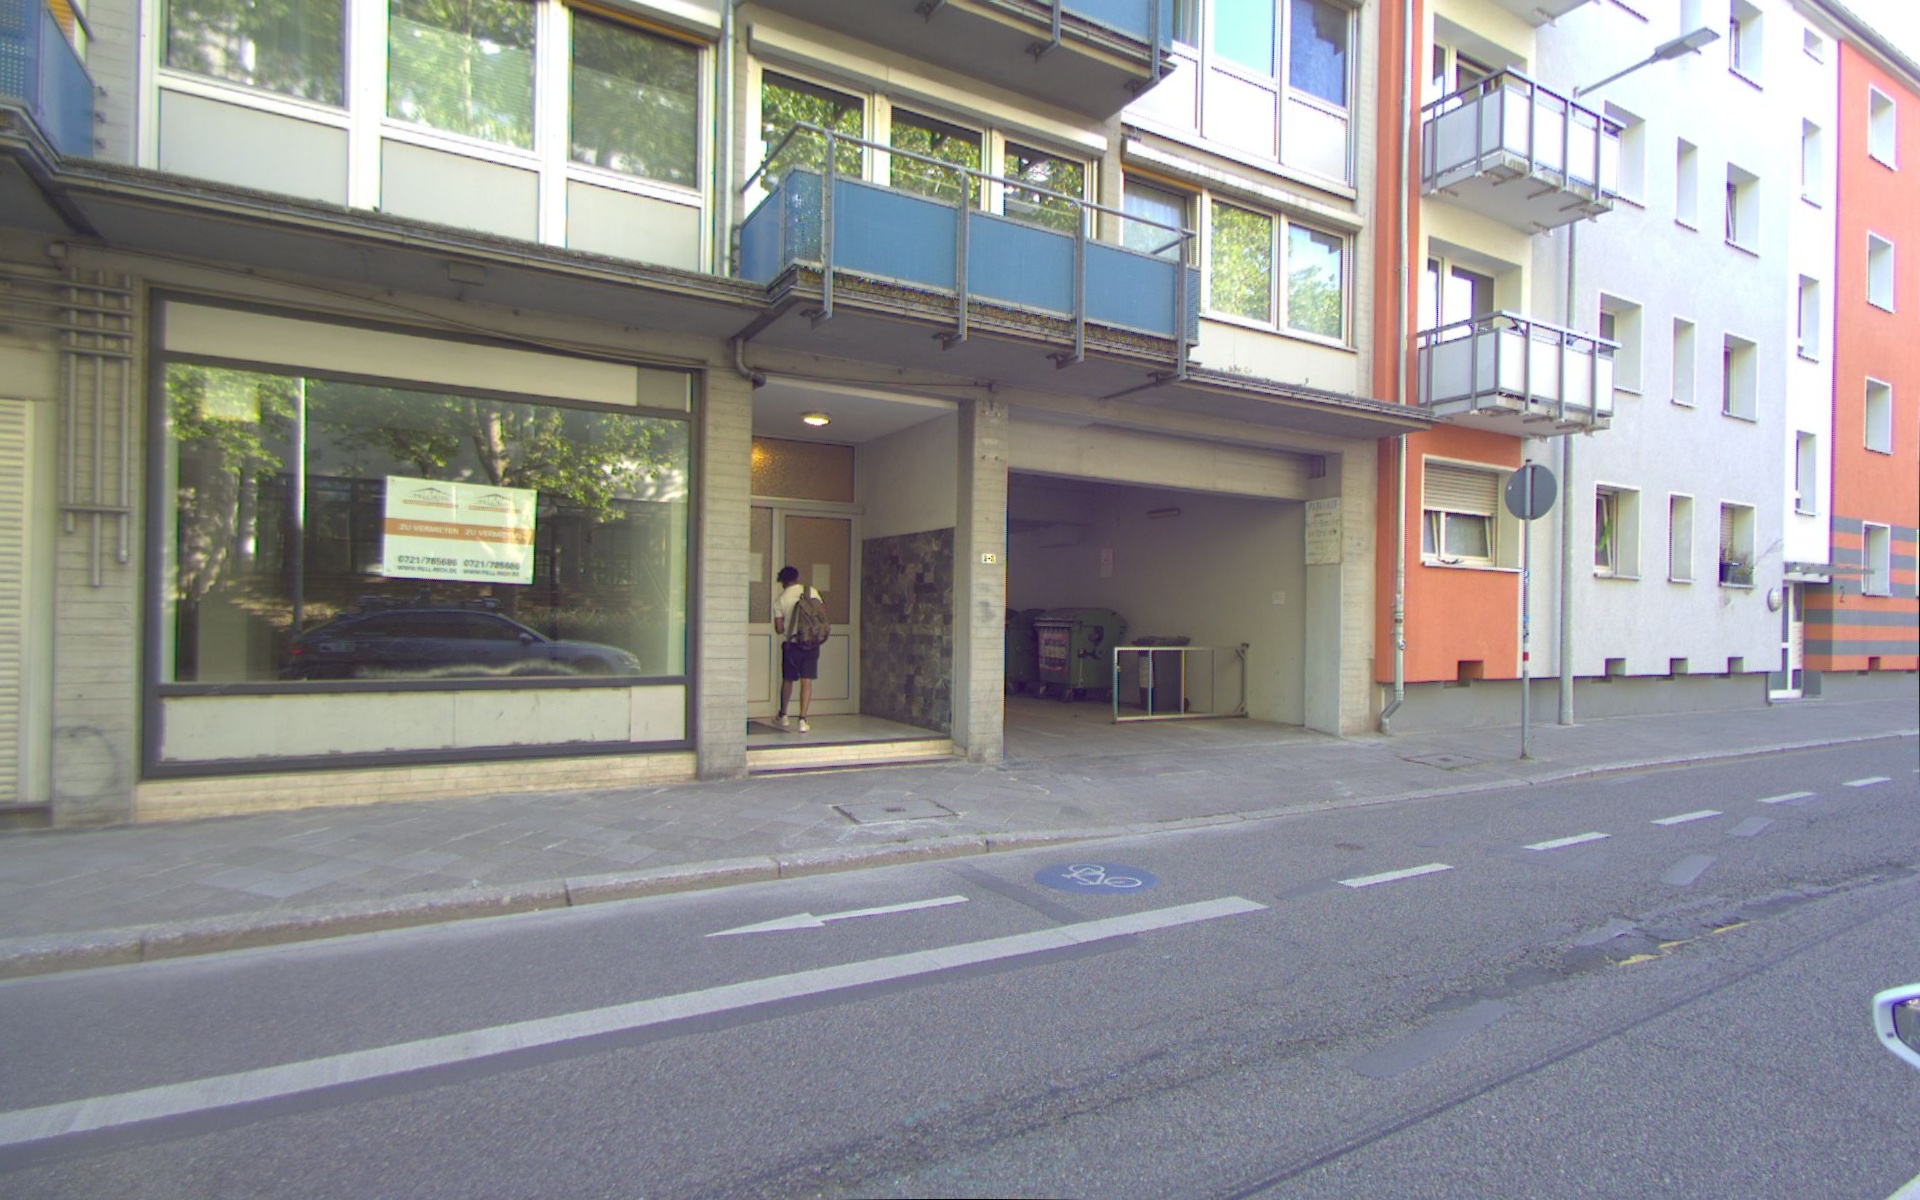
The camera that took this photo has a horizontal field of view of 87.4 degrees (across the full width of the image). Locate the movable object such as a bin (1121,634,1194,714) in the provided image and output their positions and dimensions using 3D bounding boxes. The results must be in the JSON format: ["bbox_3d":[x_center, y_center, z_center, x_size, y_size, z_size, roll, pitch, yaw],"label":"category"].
[{"bbox_3d":[2.855,1.060,14.525,0.707,1.089,0.735,2,0,-30],"label":"movable object such as a bin"}]

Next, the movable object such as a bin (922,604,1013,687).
[{"bbox_3d":[0.124,0.827,18.769,1.182,1.452,1.300,2,0,-30],"label":"movable object such as a bin"}]

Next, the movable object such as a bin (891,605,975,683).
[{"bbox_3d":[-0.543,0.858,19.933,1.182,1.452,1.300,2,0,-30],"label":"movable object such as a bin"}]

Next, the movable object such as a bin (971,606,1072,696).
[{"bbox_3d":[1.037,0.847,17.195,1.182,1.452,1.300,2,0,-30],"label":"movable object such as a bin"}]

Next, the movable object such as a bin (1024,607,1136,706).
[{"bbox_3d":[1.877,0.866,15.808,1.182,1.452,1.300,2,0,-30],"label":"movable object such as a bin"}]

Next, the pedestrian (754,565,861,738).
[{"bbox_3d":[-1.502,0.481,9.868,0.912,1.606,0.562,1,0,41],"label":"pedestrian"}]
